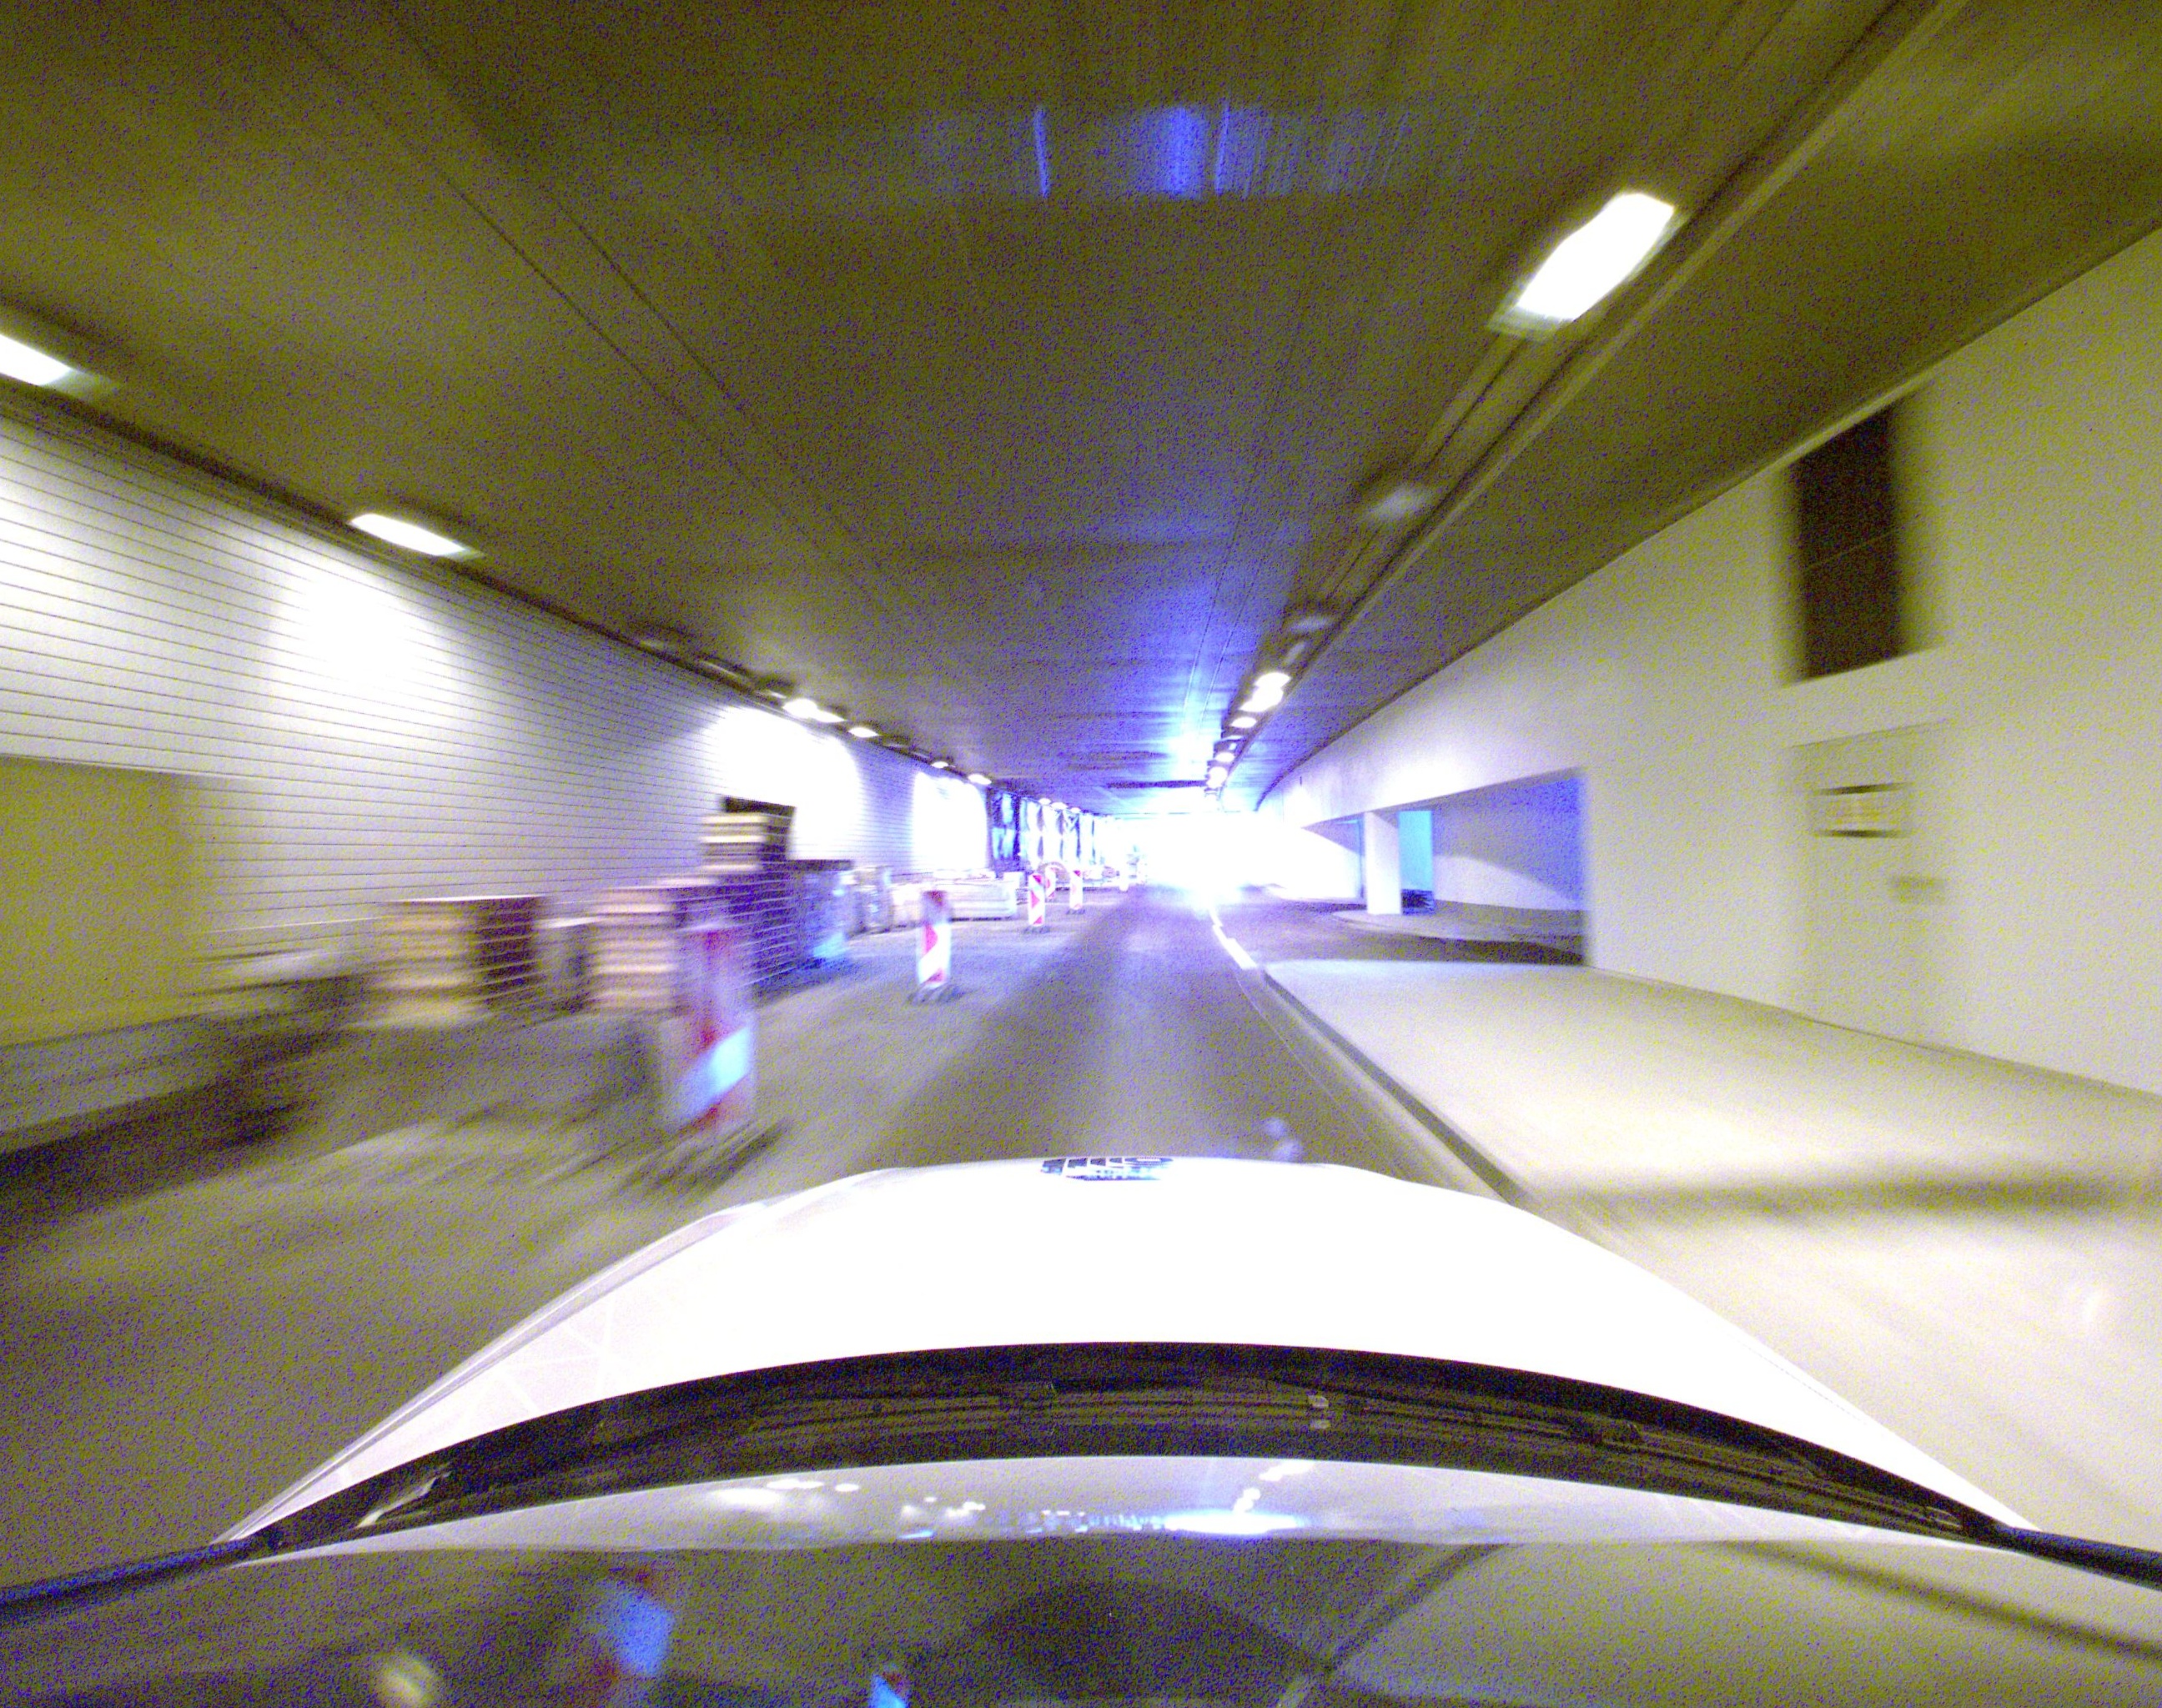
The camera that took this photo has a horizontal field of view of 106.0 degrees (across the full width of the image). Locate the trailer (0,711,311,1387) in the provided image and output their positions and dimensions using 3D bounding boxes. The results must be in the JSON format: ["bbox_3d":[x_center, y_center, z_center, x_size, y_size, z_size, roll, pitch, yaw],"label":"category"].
[{"bbox_3d":[-4.328,0.585,1.662,2.201,2.014,3.465,-1,-1,0],"label":"trailer"}]
